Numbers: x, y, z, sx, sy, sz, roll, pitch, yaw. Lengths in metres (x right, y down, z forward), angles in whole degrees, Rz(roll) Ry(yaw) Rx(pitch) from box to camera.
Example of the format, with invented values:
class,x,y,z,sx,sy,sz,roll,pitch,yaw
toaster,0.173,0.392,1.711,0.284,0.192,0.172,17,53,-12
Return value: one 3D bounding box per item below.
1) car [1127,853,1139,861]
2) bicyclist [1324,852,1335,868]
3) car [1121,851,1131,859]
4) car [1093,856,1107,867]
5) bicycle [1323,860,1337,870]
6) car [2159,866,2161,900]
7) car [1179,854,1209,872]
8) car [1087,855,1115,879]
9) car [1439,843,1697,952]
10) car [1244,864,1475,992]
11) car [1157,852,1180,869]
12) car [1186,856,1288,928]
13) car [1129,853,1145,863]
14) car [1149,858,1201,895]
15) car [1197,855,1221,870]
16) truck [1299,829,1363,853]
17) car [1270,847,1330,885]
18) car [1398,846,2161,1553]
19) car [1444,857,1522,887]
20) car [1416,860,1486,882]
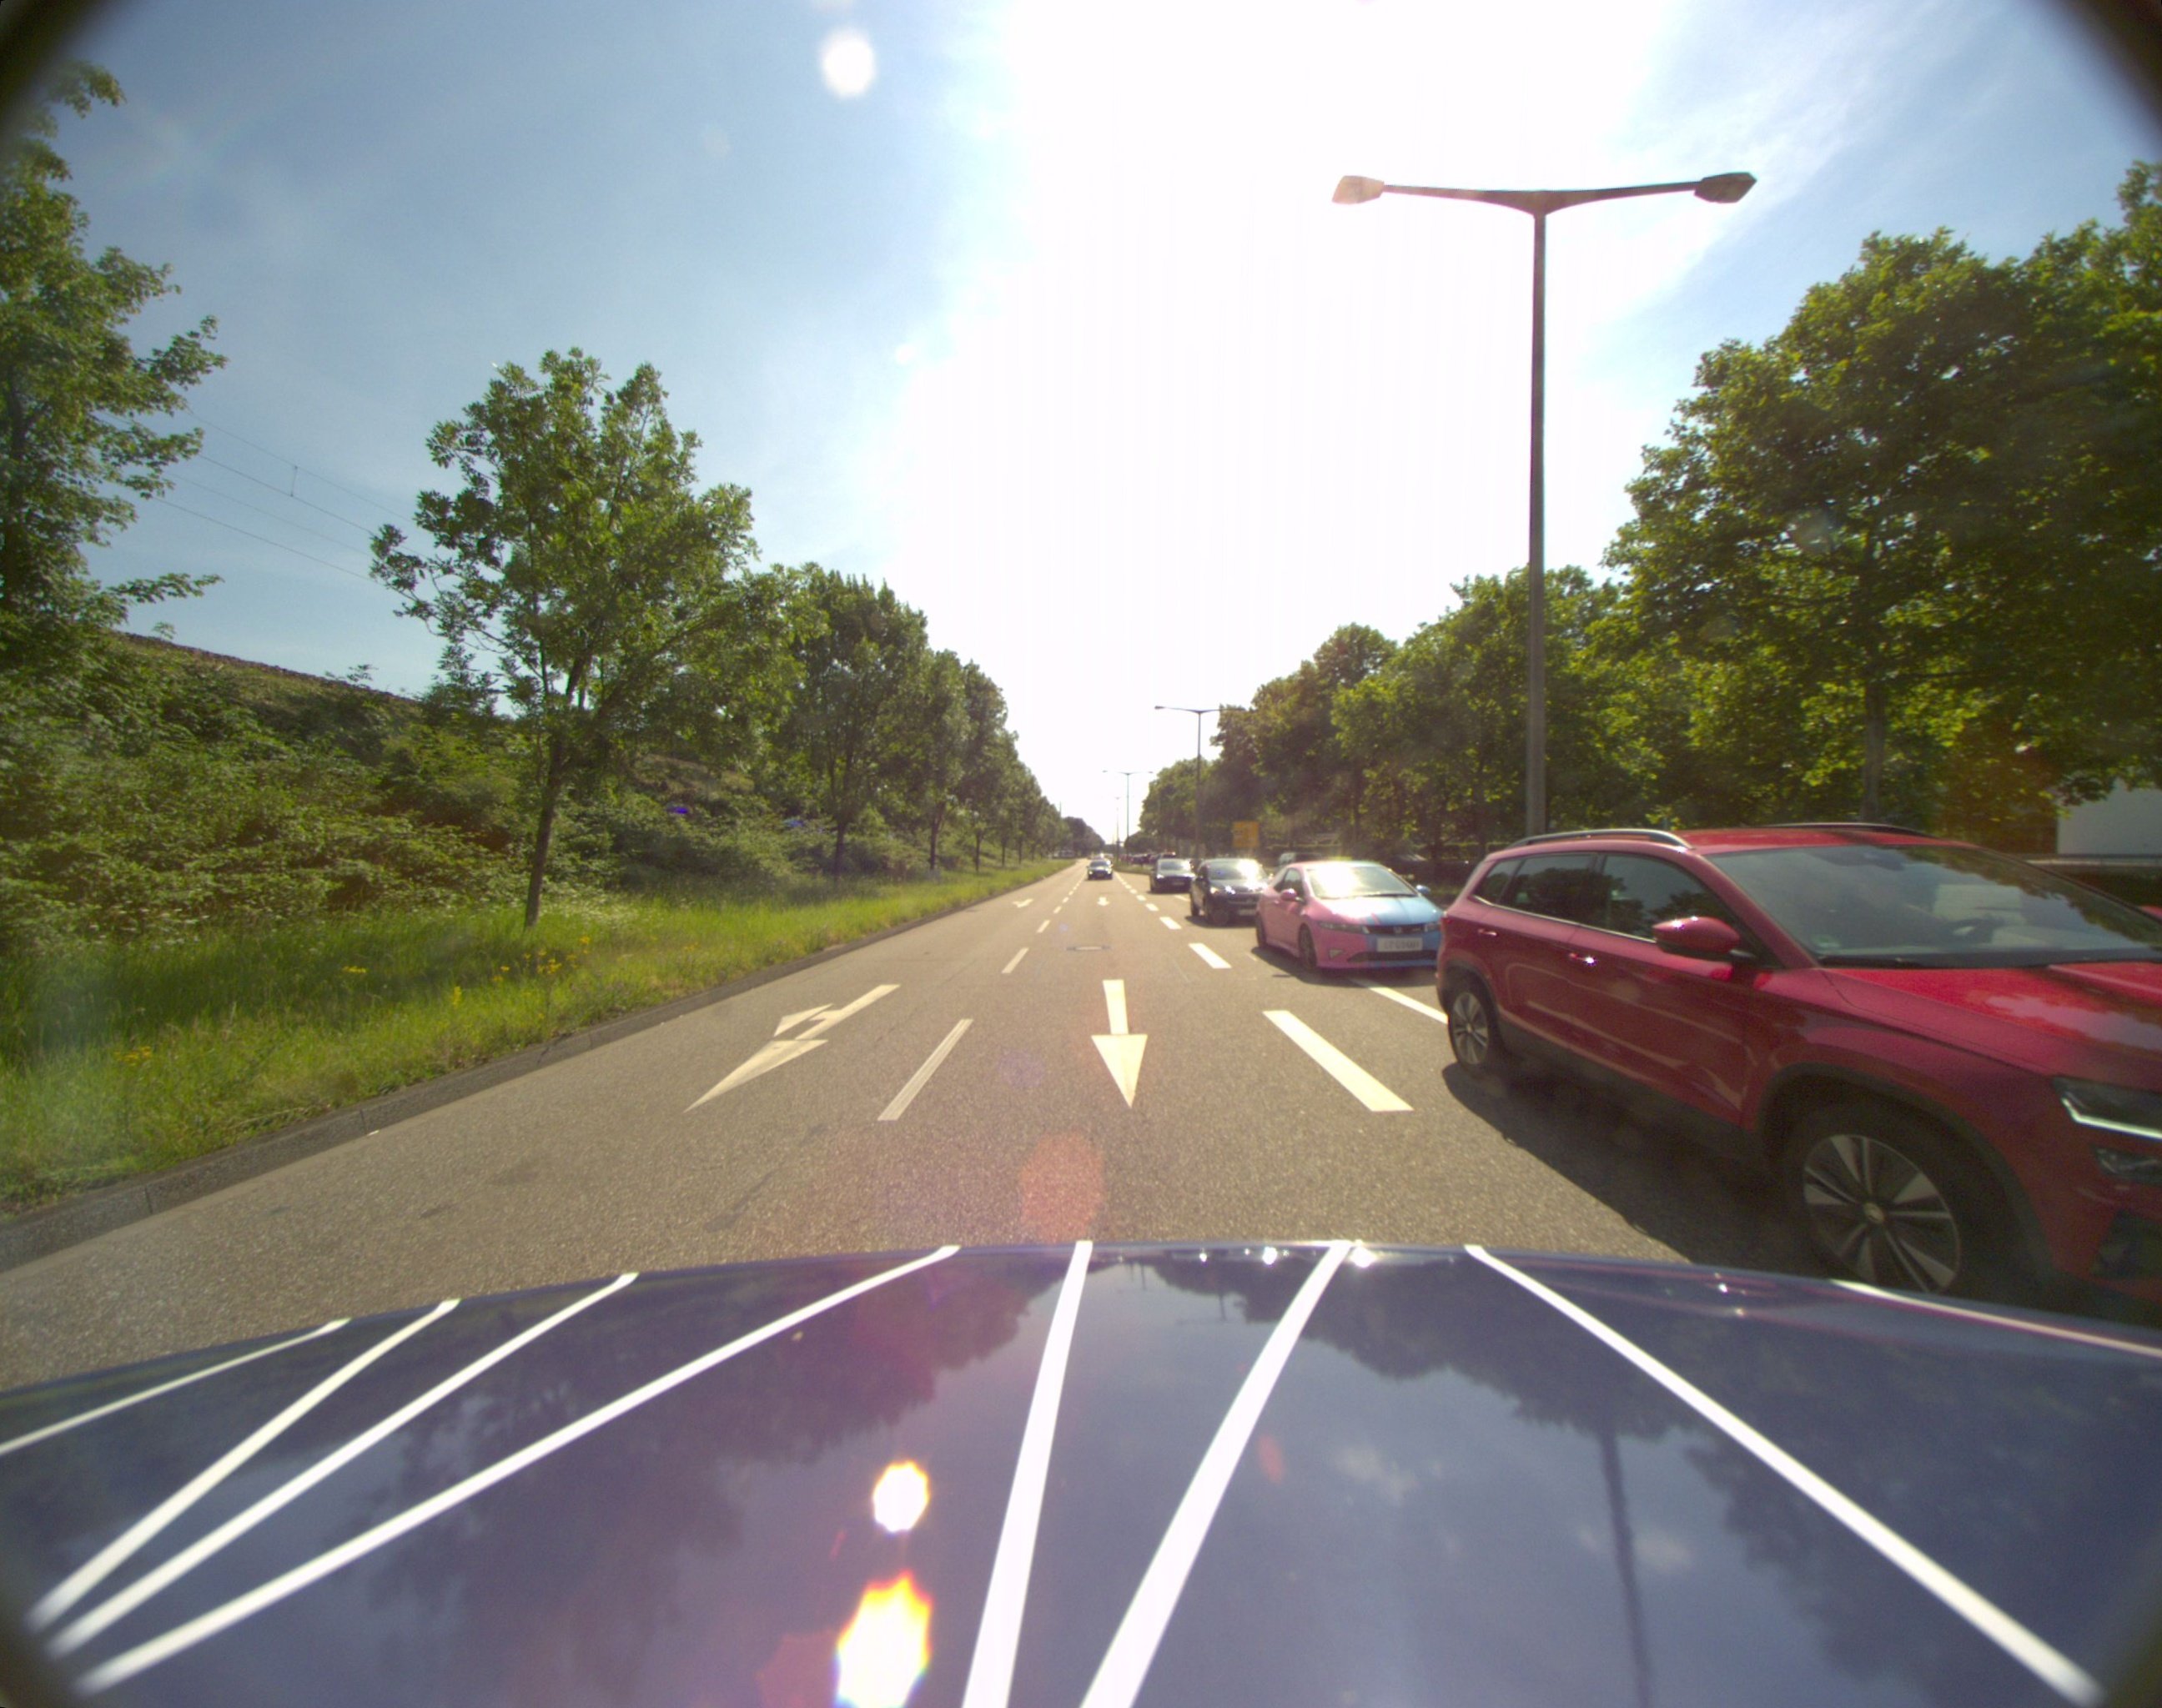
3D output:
class,x,y,z,sx,sy,sz,roll,pitch,yaw
car,9.375,0.484,136.816,1.844,1.470,4.166,0,0,1
bicyclist,22.842,0.536,69.798,0.683,1.476,0.942,0,1,1
car,8.999,0.182,150.739,1.777,1.459,4.671,1,0,1
car,2.867,1.119,116.062,1.855,1.752,4.313,0,0,-1
bicycle,22.843,1.035,69.815,0.691,0.861,1.926,0,0,1
car,49.930,1.222,32.573,3.992,1.495,1.808,-1,-2,17
car,9.979,0.808,67.391,1.998,1.522,4.682,1,0,1
car,1.457,0.930,56.256,1.998,1.699,4.431,0,0,1
car,8.798,0.688,14.290,1.868,1.740,4.398,0,0,-3
car,3.685,0.880,10.986,1.706,1.382,4.472,-2,0,1
car,10.430,0.737,90.630,2.122,1.872,5.419,0,0,0
car,3.609,0.824,18.281,1.630,1.474,4.048,-2,0,1
car,7.953,0.540,108.072,1.773,1.460,4.282,0,0,-2
car,4.088,0.933,33.613,1.826,1.498,4.216,-1,0,1
car,13.123,0.860,78.165,1.791,1.390,4.358,1,1,1
truck,35.660,-1.788,108.755,2.678,3.376,8.965,-1,0,-35
car,12.464,0.654,43.635,1.998,2.002,5.213,0,0,1
car,3.355,0.781,3.637,1.787,1.583,4.593,-1,0,1
car,26.210,1.149,49.679,3.995,1.812,2.157,-1,1,5
car,25.724,1.153,52.897,3.996,1.456,1.772,0,0,2
